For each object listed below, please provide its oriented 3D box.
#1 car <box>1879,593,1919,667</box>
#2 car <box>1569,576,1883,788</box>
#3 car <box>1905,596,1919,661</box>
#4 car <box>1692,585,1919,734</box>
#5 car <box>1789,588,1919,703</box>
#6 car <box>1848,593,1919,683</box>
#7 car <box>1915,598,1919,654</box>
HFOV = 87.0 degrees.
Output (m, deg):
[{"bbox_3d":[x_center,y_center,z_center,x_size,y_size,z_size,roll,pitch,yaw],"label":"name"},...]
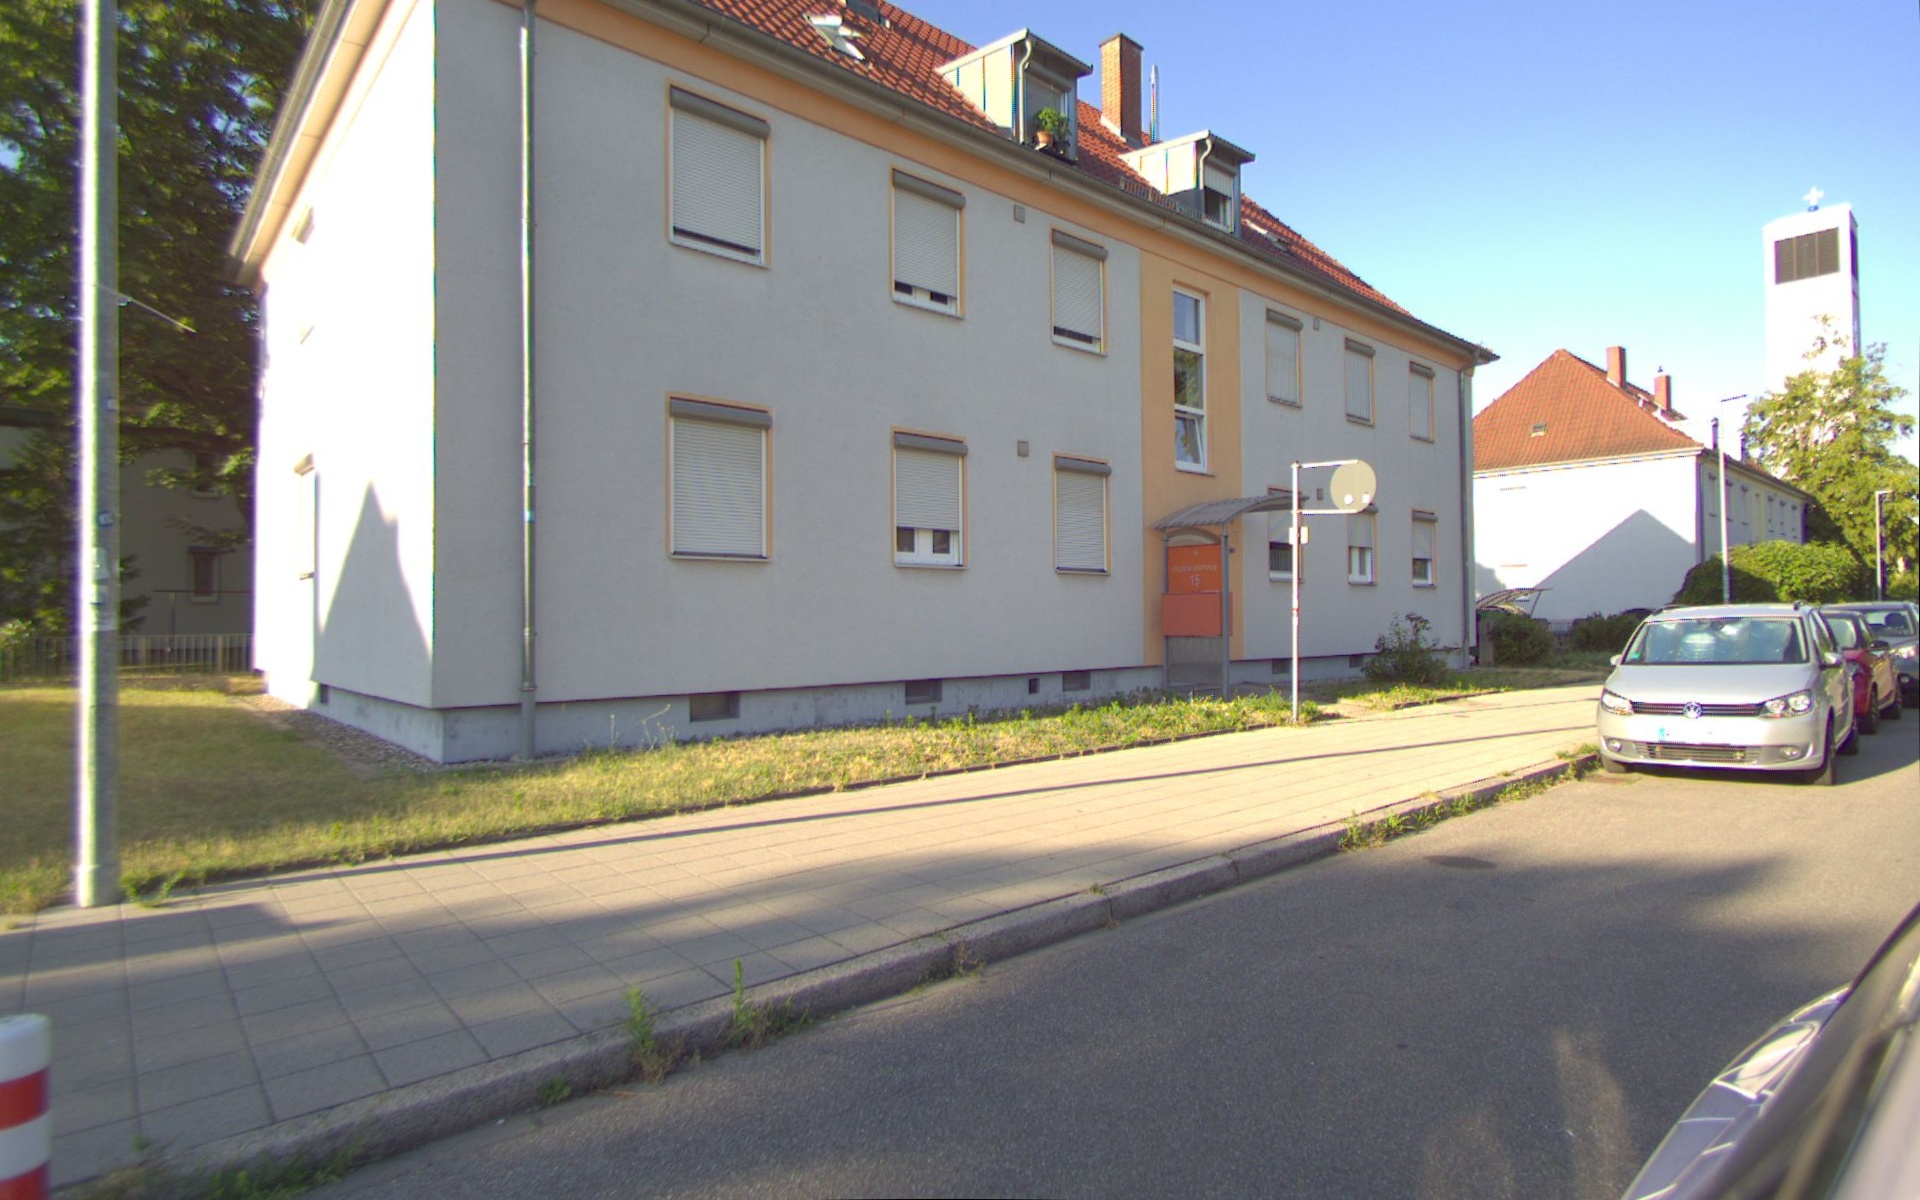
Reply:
[{"bbox_3d":[23.672,0.671,24.426,3.933,1.718,1.846,0,-3,-44],"label":"car"},{"bbox_3d":[7.838,0.696,10.216,3.933,1.718,1.846,0,-3,-44],"label":"car"},{"bbox_3d":[27.588,0.727,27.983,3.933,1.718,1.846,0,-3,-44],"label":"car"},{"bbox_3d":[11.490,0.716,13.668,3.933,1.718,1.846,0,-3,-44],"label":"car"},{"bbox_3d":[15.355,0.694,16.854,3.933,1.718,1.846,0,-3,-44],"label":"car"},{"bbox_3d":[19.688,0.717,20.720,3.933,1.718,1.846,0,-3,-44],"label":"car"},{"bbox_3d":[31.426,0.739,31.737,3.933,1.718,1.846,0,-3,-44],"label":"car"}]
